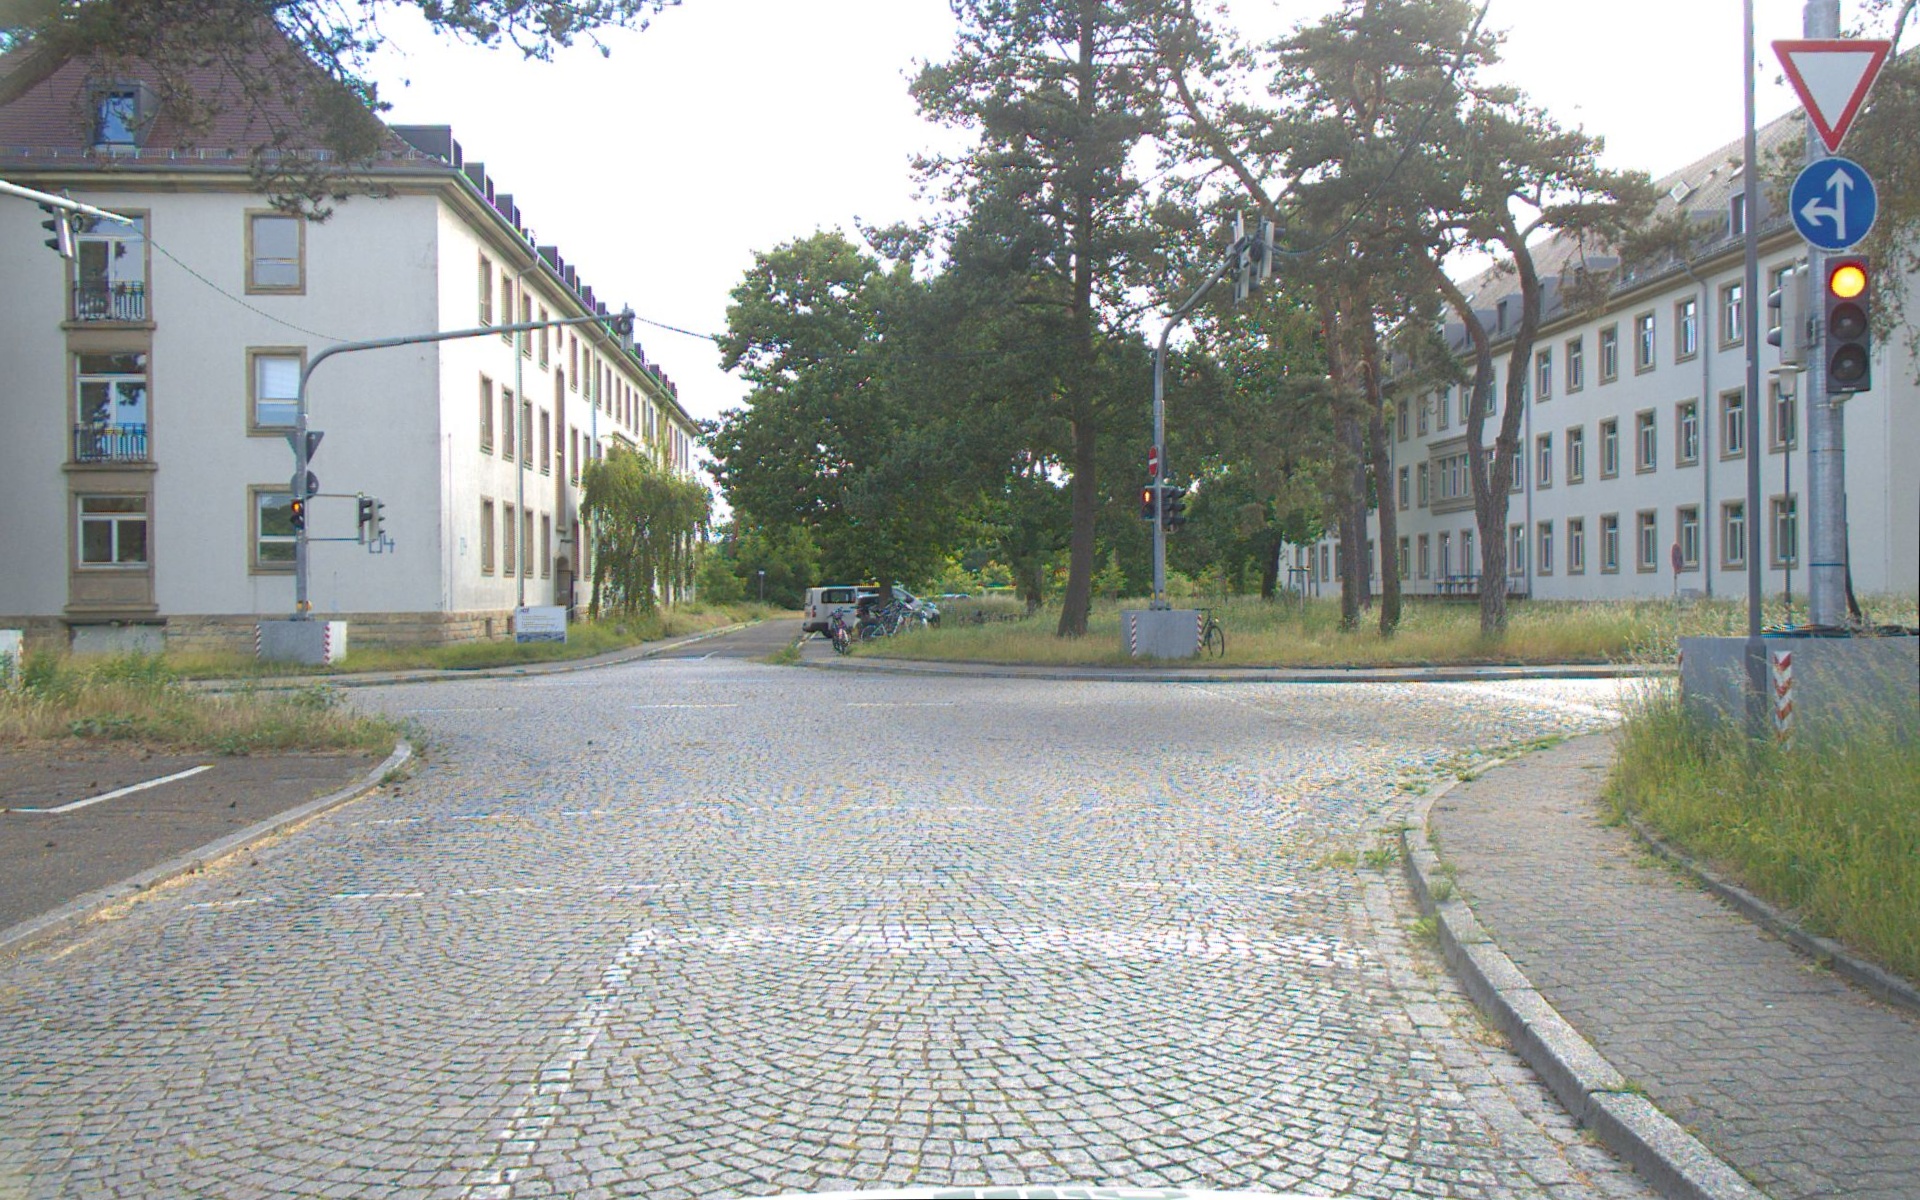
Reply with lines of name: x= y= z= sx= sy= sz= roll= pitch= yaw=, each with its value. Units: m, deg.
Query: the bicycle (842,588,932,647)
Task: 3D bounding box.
bicycle: x=-2.262 y=0.539 z=51.185 sx=2.720 sy=1.724 sz=1.119 roll=2 pitch=0 yaw=-3

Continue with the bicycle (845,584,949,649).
bicycle: x=-1.723 y=0.436 z=45.114 sx=2.724 sy=1.724 sz=1.118 roll=-1 pitch=0 yaw=-9

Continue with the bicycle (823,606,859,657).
bicycle: x=-2.917 y=0.757 z=40.745 sx=0.711 sy=1.127 sz=2.461 roll=-5 pitch=0 yaw=-2

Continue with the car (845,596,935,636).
car: x=-2.526 y=0.550 z=59.475 sx=3.080 sy=1.378 sz=1.616 roll=-1 pitch=0 yaw=-10

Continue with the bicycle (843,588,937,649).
bicycle: x=-2.096 y=0.555 z=49.856 sx=2.718 sy=1.724 sz=1.120 roll=2 pitch=0 yaw=0

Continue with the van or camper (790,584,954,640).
van or camper: x=-3.365 y=0.430 z=63.001 sx=5.937 sy=1.983 sz=1.990 roll=-1 pitch=0 yaw=-18

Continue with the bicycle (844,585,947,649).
bicycle: x=-1.822 y=0.462 z=46.303 sx=2.726 sy=1.724 sz=1.117 roll=-1 pitch=0 yaw=-11

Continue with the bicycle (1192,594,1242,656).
bicycle: x=5.221 y=0.493 z=33.768 sx=0.709 sy=1.189 sz=2.738 roll=1 pitch=0 yaw=3
